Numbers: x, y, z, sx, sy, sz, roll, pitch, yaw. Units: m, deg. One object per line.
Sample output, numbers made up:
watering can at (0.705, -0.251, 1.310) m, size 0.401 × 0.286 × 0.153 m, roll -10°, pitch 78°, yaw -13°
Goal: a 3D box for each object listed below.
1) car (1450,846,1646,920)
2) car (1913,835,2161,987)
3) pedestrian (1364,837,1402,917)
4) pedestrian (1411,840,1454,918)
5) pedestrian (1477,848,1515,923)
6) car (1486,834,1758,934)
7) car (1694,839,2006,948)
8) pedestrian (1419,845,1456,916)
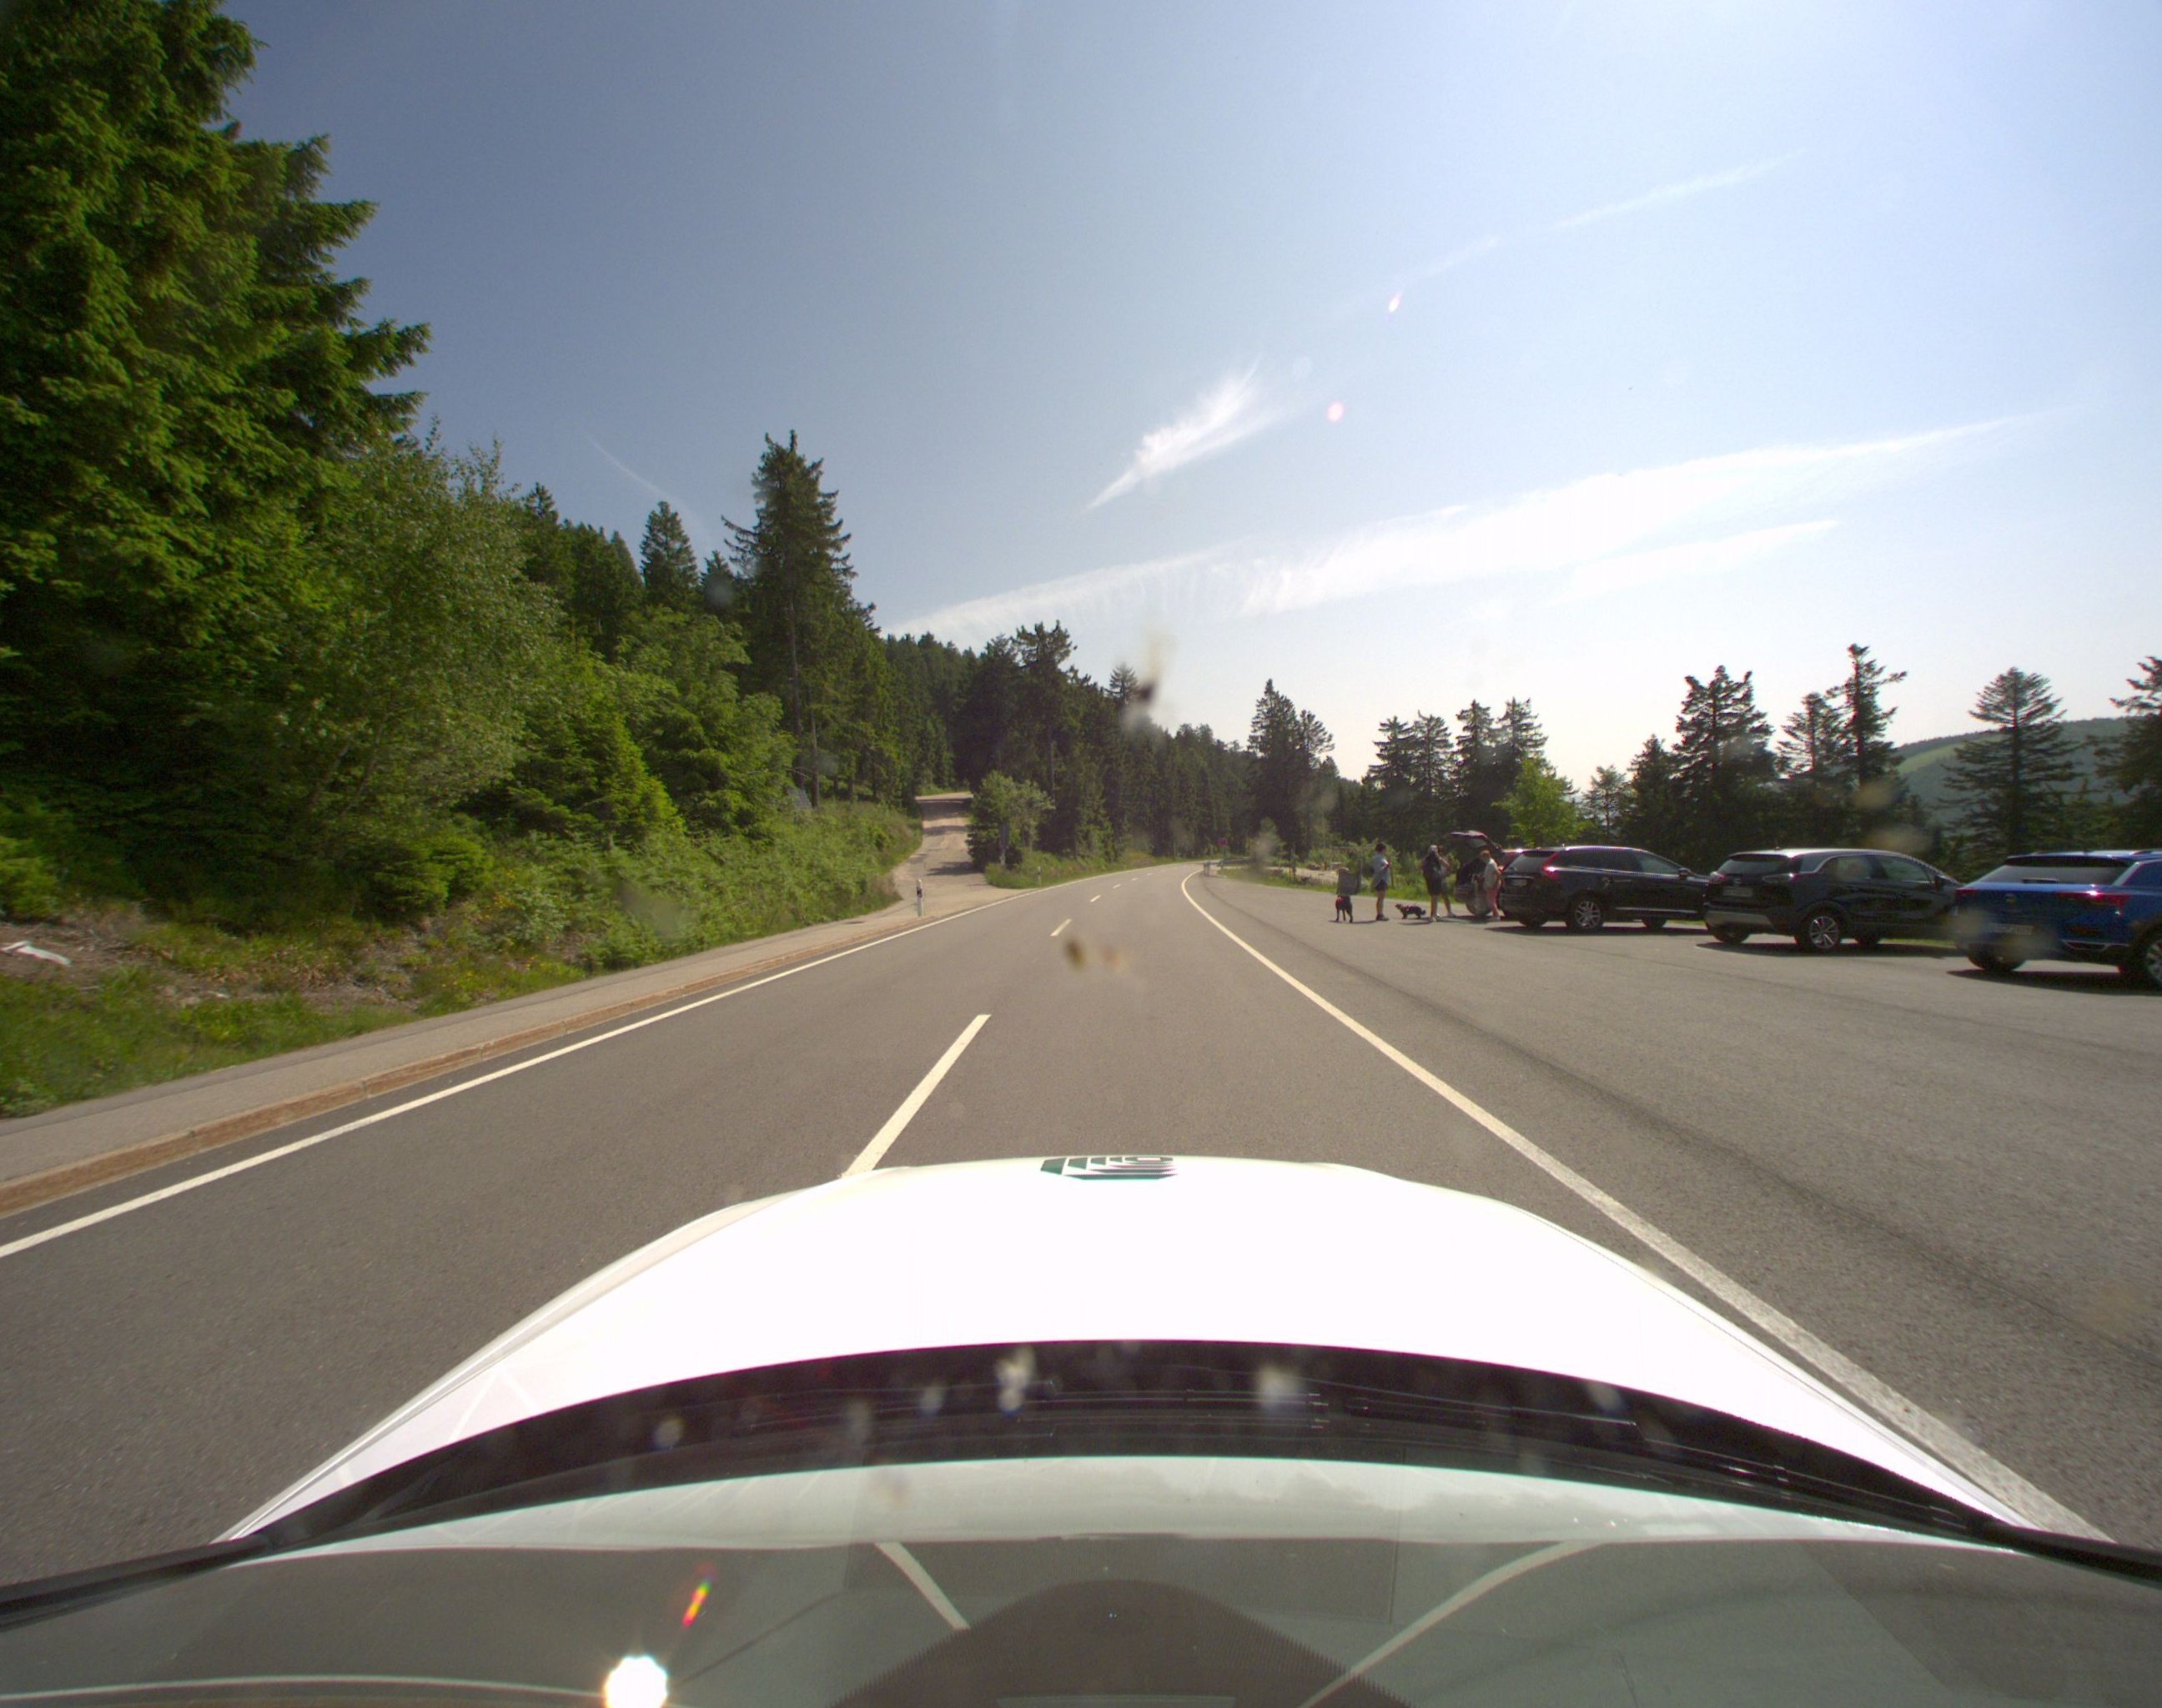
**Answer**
car at (11.024, 0.670, 19.374) m, size 3.810 × 1.661 × 1.650 m, roll 1°, pitch 0°, yaw -5°
car at (12.905, 0.594, 9.860) m, size 3.979 × 1.535 × 1.805 m, roll -1°, pitch 3°, yaw -4°
pedestrian at (6.817, 0.515, 18.400) m, size 0.613 × 1.775 × 0.725 m, roll -1°, pitch 0°, yaw 7°
pedestrian at (7.758, 0.541, 17.991) m, size 0.712 × 1.692 × 0.620 m, roll -1°, pitch 0°, yaw 7°
pedestrian at (9.173, 0.679, 18.006) m, size 0.612 × 1.587 × 0.739 m, roll -2°, pitch 1°, yaw 19°
car at (10.629, 0.533, 16.210) m, size 4.254 × 1.793 × 1.890 m, roll -1°, pitch 1°, yaw -3°
car at (12.229, 0.580, 13.070) m, size 3.747 × 1.567 × 1.597 m, roll -1°, pitch 0°, yaw -6°
pedestrian at (8.573, 0.626, 19.609) m, size 0.648 × 1.660 × 0.690 m, roll -2°, pitch 1°, yaw 13°
